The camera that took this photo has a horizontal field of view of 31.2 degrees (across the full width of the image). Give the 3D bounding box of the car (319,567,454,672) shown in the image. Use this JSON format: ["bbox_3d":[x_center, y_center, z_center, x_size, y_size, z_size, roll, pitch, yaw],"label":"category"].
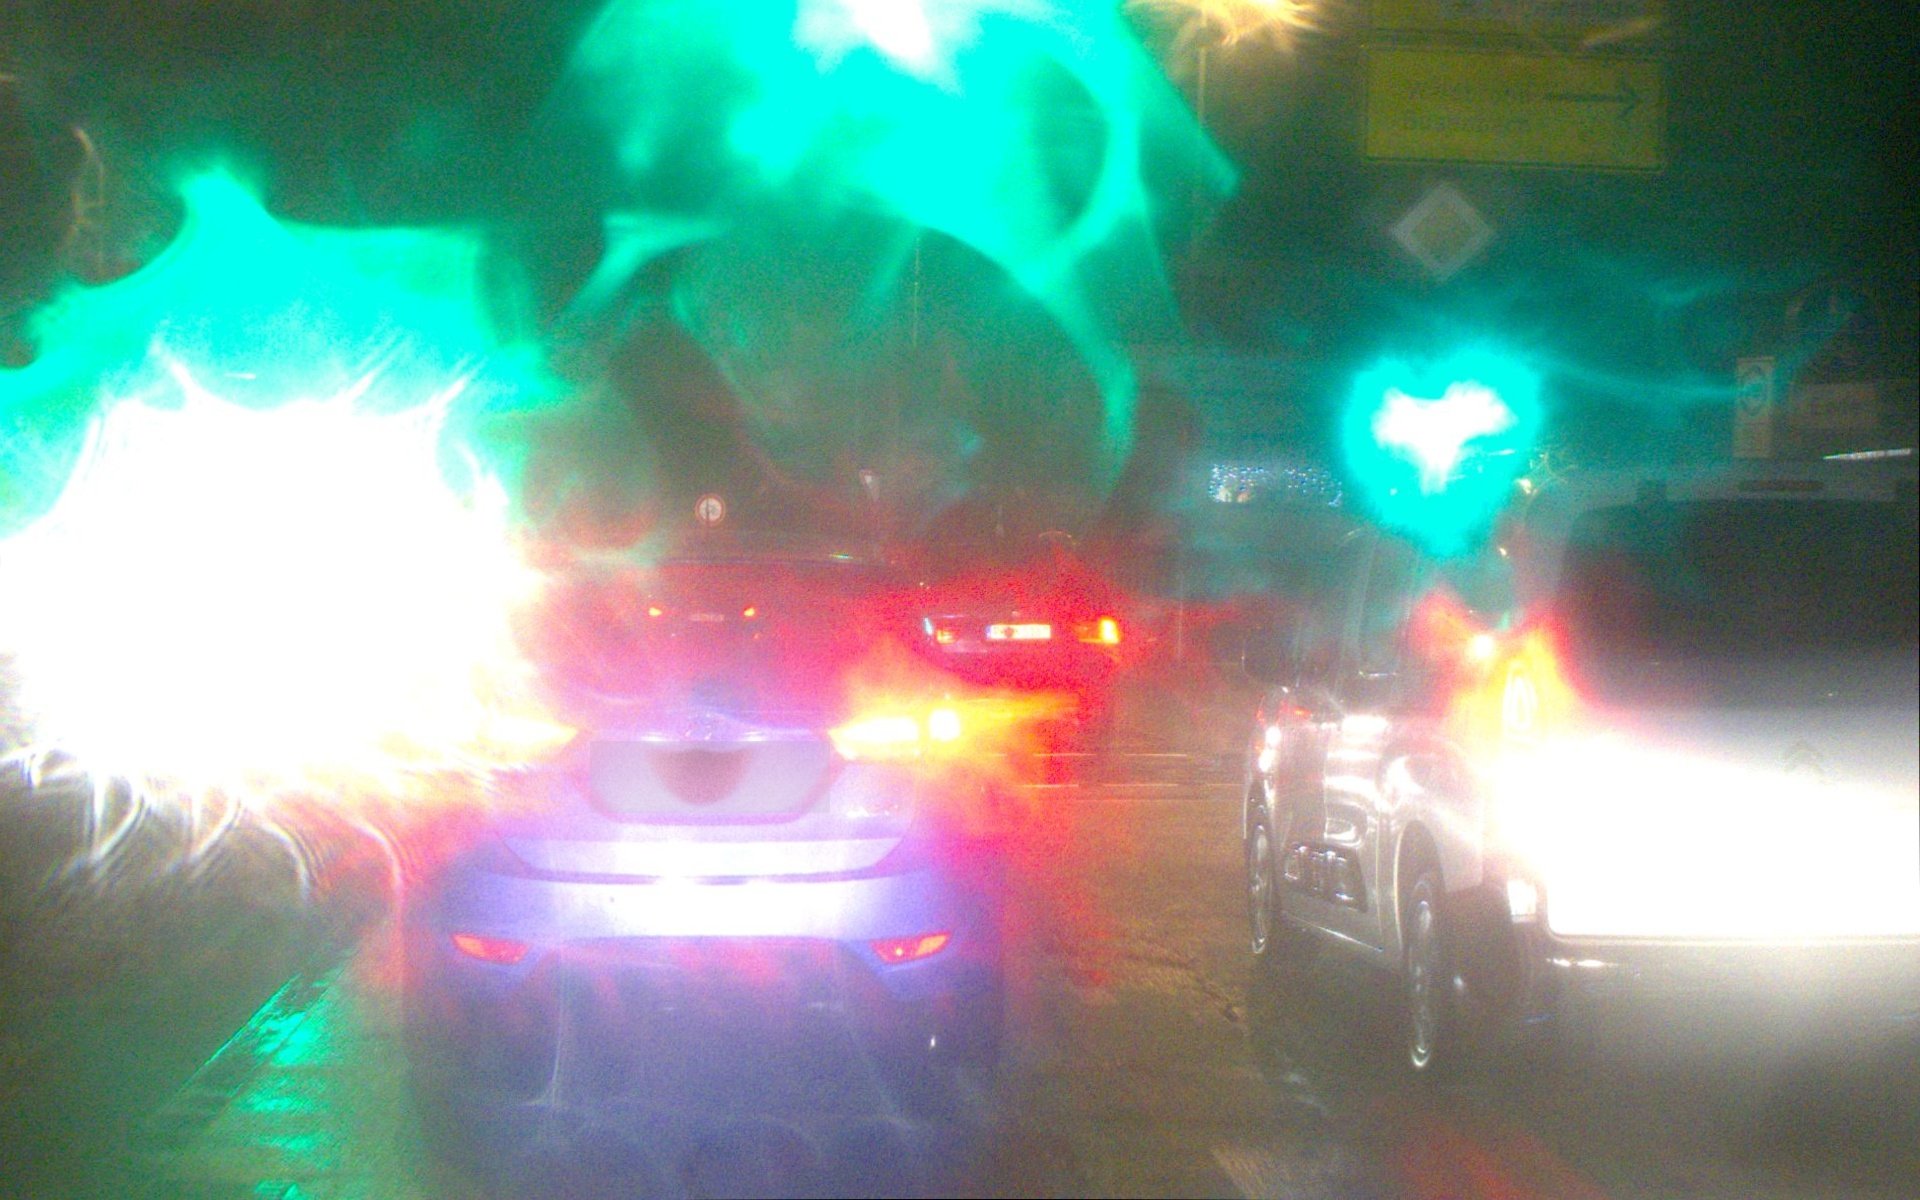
[{"bbox_3d":[-10.081,0.318,60.206,1.993,1.726,4.001,1,0,-14],"label":"car"}]

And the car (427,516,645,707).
[{"bbox_3d":[-4.837,0.105,38.774,1.993,2.007,4.001,1,0,-13],"label":"car"}]

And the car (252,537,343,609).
[{"bbox_3d":[-17.482,-0.728,90.552,1.993,1.814,4.001,1,0,-16],"label":"car"}]

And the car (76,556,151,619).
[{"bbox_3d":[-25.572,-0.388,103.797,1.993,1.818,4.001,1,0,-16],"label":"car"}]

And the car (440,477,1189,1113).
[{"bbox_3d":[-0.549,0.520,11.624,2.014,1.711,4.452,1,0,-4],"label":"car"}]

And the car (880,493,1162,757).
[{"bbox_3d":[0.437,0.180,28.952,1.968,2.040,4.001,1,0,-4],"label":"car"}]

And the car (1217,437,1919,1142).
[{"bbox_3d":[2.076,0.494,11.330,1.851,1.858,4.341,1,0,-3],"label":"car"}]

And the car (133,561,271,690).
[{"bbox_3d":[-12.199,0.378,55.163,2.014,1.880,4.453,1,1,-14],"label":"car"}]

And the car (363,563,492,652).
[{"bbox_3d":[-10.563,0.127,68.019,1.993,1.664,4.001,1,0,-16],"label":"car"}]
